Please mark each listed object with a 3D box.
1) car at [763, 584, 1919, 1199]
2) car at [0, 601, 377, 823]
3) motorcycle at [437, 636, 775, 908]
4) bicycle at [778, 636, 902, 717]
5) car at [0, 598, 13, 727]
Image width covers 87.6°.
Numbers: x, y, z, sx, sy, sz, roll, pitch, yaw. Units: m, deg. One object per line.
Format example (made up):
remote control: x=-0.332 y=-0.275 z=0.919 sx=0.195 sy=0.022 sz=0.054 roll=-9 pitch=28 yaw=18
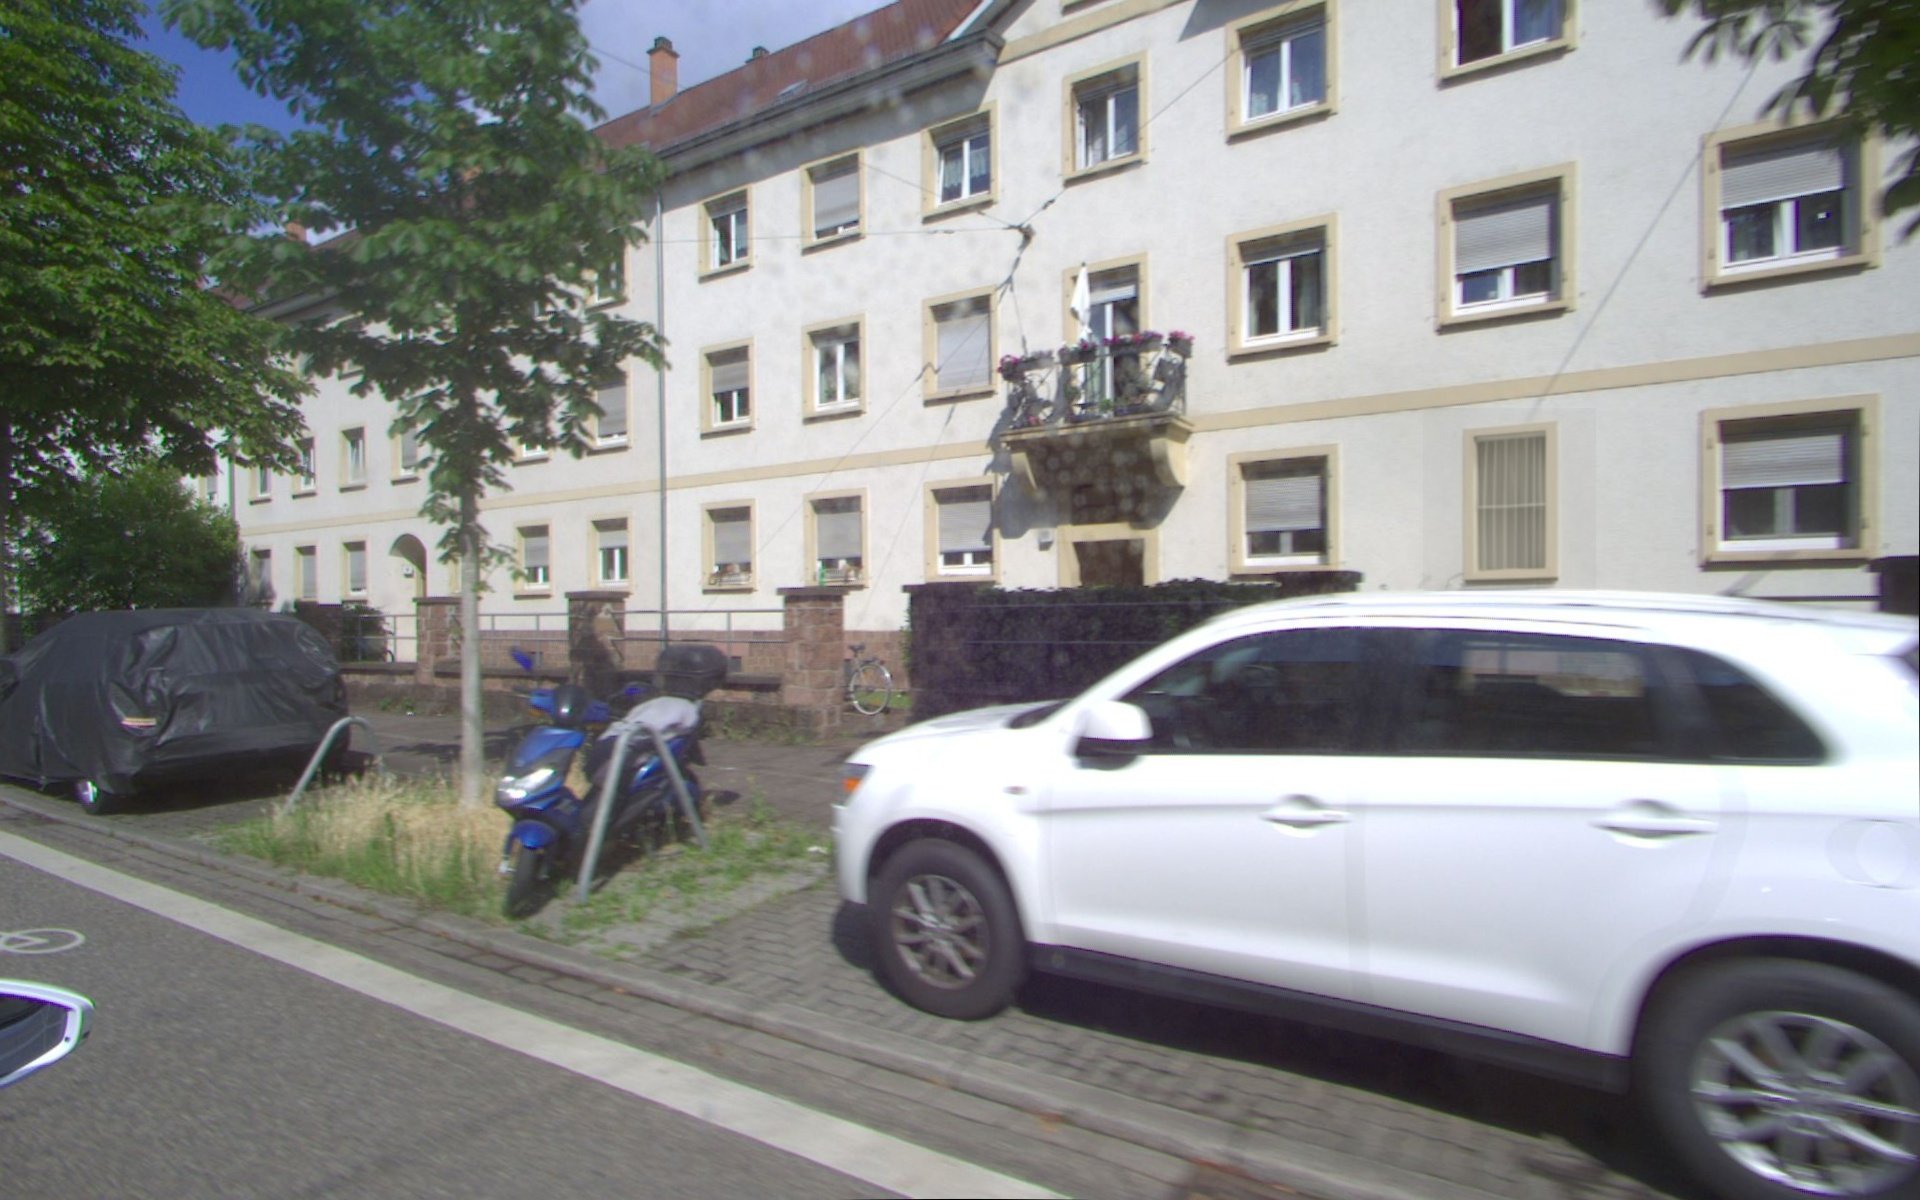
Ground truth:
car: x=1.372 y=0.798 z=3.892 sx=4.189 sy=1.601 sz=1.738 roll=-1 pitch=-1 yaw=33
car: x=-7.726 y=0.884 z=9.564 sx=4.571 sy=1.674 sz=1.859 roll=-1 pitch=-1 yaw=32
motorcycle: x=-2.074 y=0.924 z=6.208 sx=0.736 sy=1.354 sz=2.005 roll=0 pitch=-1 yaw=28
bicycle: x=-1.583 y=0.973 z=13.113 sx=1.655 sy=0.977 sz=0.536 roll=-1 pitch=0 yaw=33
car: x=-15.846 y=0.888 z=14.655 sx=4.665 sy=1.806 sz=1.823 roll=0 pitch=0 yaw=33
